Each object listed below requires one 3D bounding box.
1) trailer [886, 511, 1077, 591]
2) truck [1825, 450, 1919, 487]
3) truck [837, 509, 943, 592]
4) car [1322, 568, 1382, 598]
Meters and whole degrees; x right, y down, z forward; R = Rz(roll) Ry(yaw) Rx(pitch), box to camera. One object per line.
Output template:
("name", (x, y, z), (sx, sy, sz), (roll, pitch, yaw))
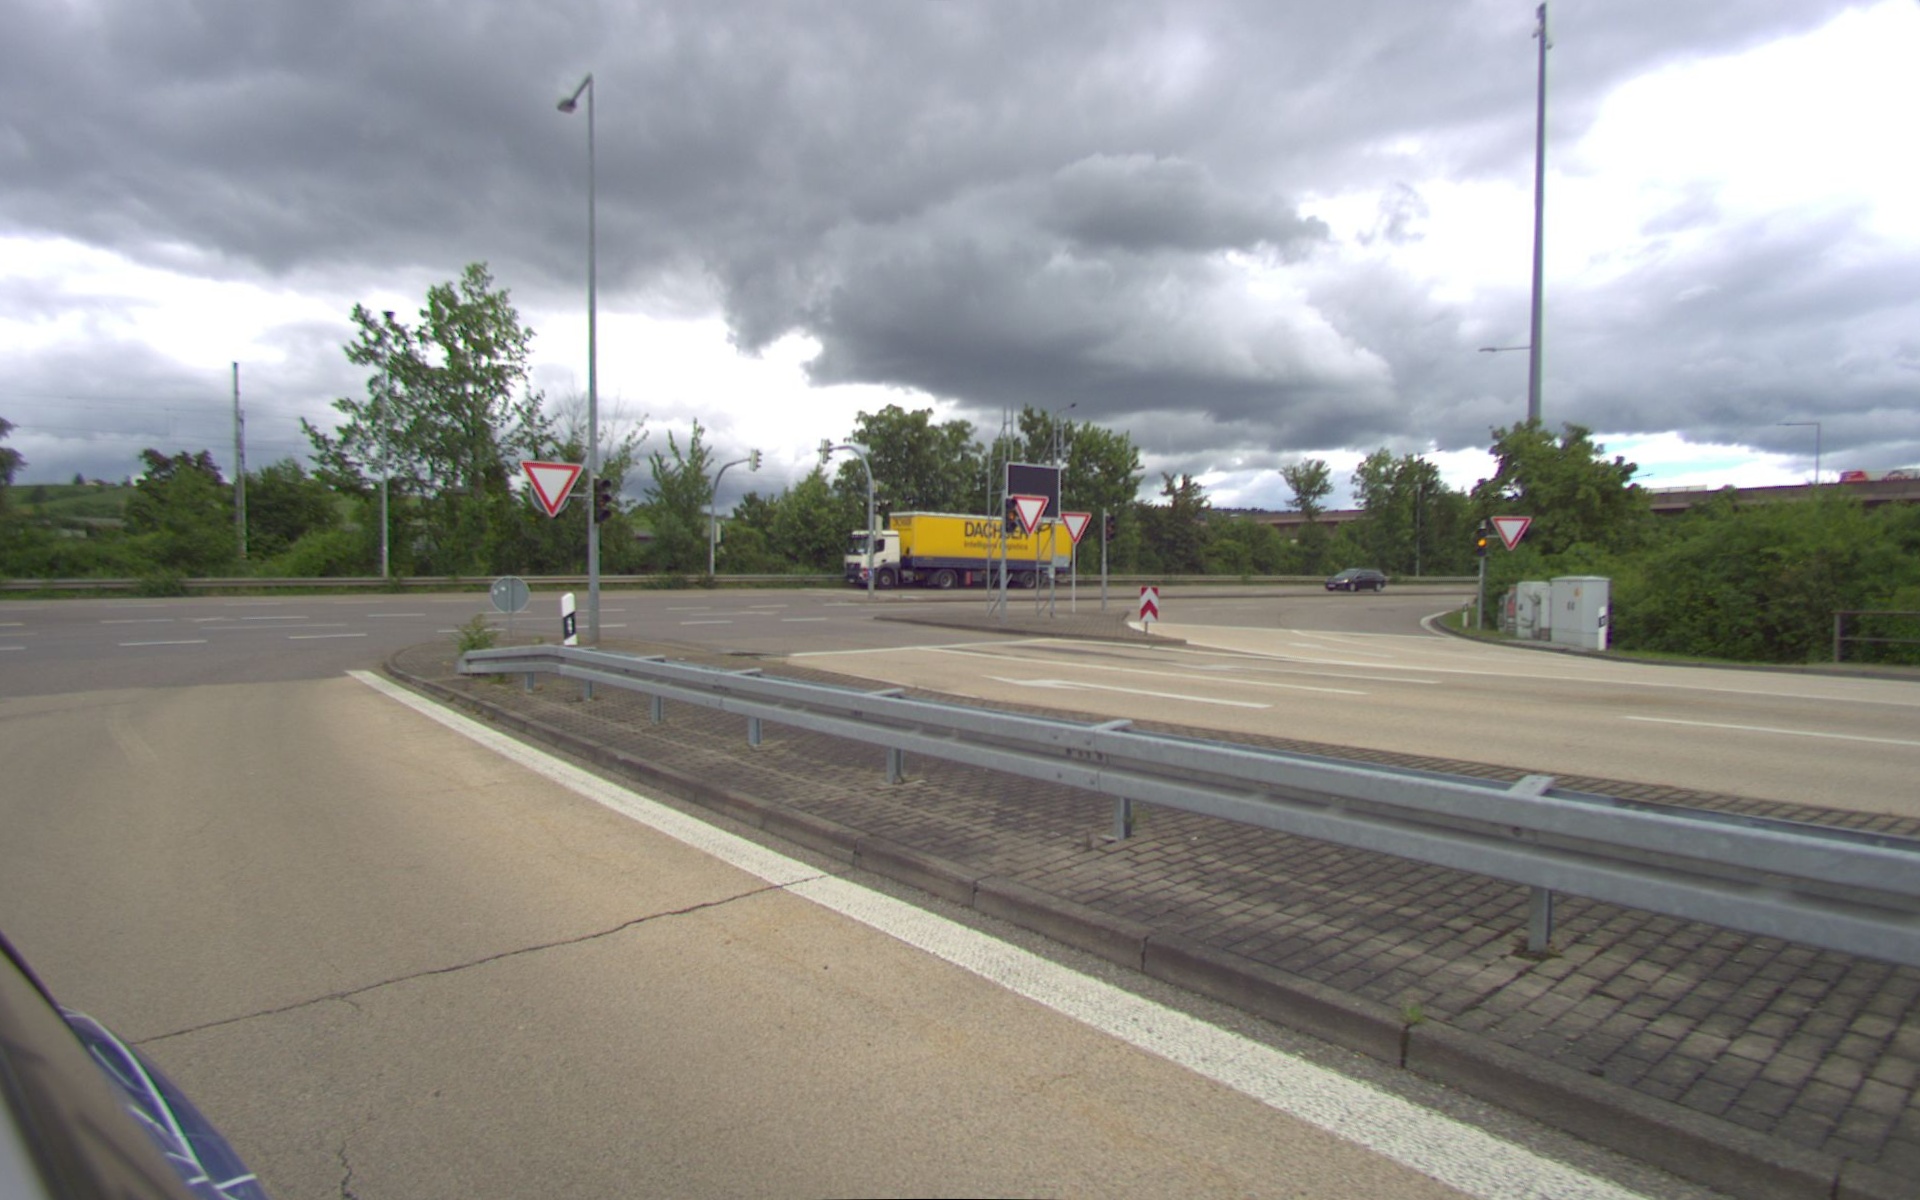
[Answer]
("trailer", (1.425, -2.681, 57.697), (11.461, 4.235, 2.642), (-1, 2, -34))
("truck", (104.780, -14.841, 114.415), (2.246, 3.266, 10.915), (0, 2, -19))
("truck", (-3.744, -2.608, 54.235), (5.017, 4.235, 2.642), (-1, 2, -34))
("car", (25.028, -1.105, 64.608), (4.058, 1.673, 1.633), (-4, 6, -36))
